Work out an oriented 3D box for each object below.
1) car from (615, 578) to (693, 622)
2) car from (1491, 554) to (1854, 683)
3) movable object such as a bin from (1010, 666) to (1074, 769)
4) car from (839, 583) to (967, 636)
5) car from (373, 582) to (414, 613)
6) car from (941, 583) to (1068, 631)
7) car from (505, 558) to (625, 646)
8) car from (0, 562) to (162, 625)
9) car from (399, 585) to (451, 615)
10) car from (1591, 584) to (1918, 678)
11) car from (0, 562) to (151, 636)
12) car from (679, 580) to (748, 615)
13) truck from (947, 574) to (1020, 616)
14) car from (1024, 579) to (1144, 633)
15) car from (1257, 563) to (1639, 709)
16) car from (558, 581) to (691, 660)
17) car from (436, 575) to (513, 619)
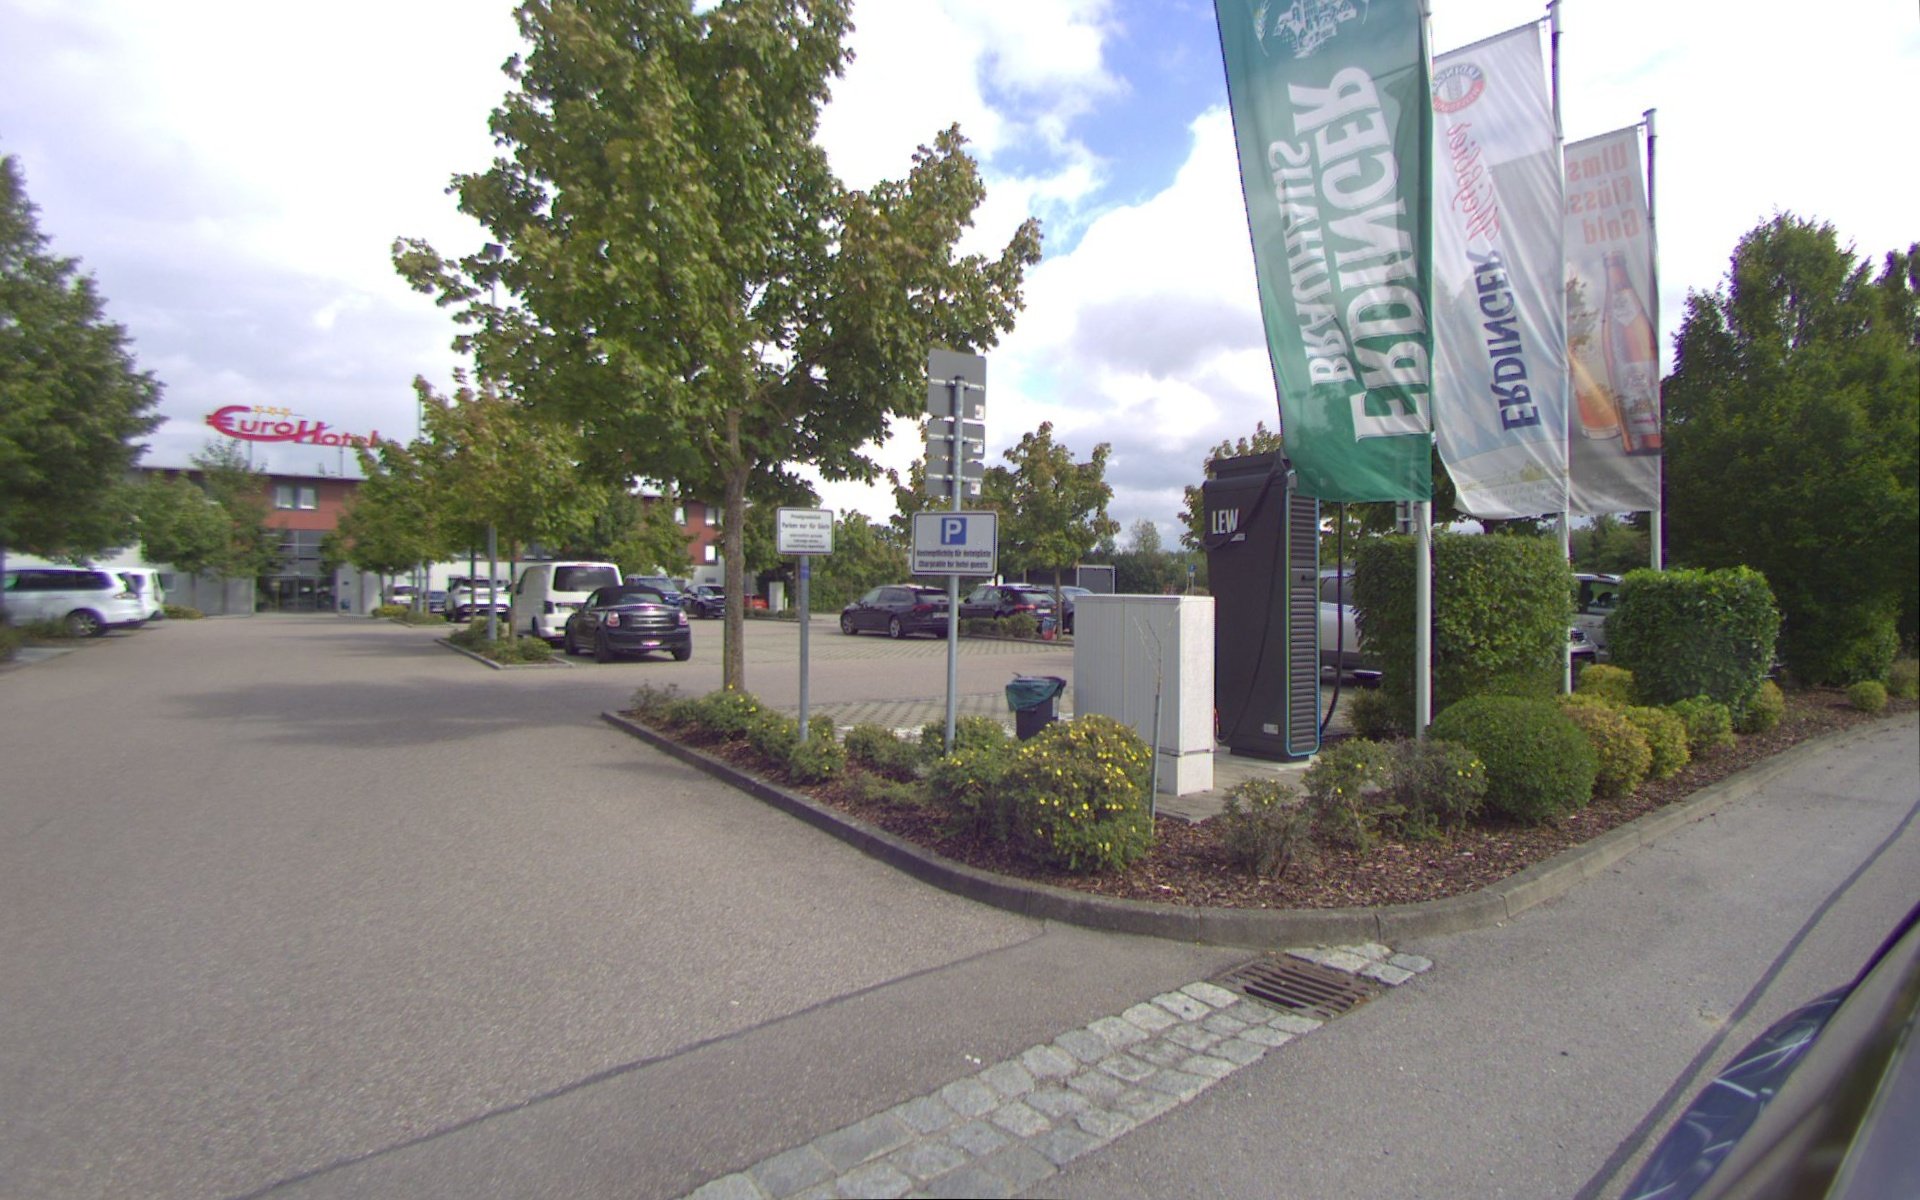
[{"bbox_3d":[-12.442,0.012,40.987,1.735,1.677,3.997,0,0,-37],"label":"car"},{"bbox_3d":[10.932,0.251,15.877,1.625,1.738,4.365,0,0,-33],"label":"car"},{"bbox_3d":[0.594,0.837,7.306,0.360,0.693,0.289,0,-1,-30],"label":"movable object such as a bin"},{"bbox_3d":[-1.684,0.242,28.458,1.688,1.363,4.277,0,0,-33],"label":"car"},{"bbox_3d":[-33.990,-0.155,60.694,1.644,1.804,3.997,0,0,-37],"label":"car"},{"bbox_3d":[1.266,0.193,30.802,1.688,1.363,4.277,0,0,-33],"label":"car"},{"bbox_3d":[-9.292,0.046,23.596,1.733,1.845,4.367,0,0,-33],"label":"car"},{"bbox_3d":[-26.016,-0.181,28.865,4.982,1.733,1.597,0,0,-35],"label":"car"},{"bbox_3d":[-26.666,0.007,50.405,1.644,1.447,3.997,0,0,-37],"label":"car"},{"bbox_3d":[13.108,0.458,16.930,1.693,1.367,4.000,0,0,-35],"label":"car"},{"bbox_3d":[-22.889,-0.034,24.542,4.982,1.733,1.750,0,0,-35],"label":"car"},{"bbox_3d":[-10.236,-0.091,41.905,1.500,1.391,3.476,0,0,-37],"label":"car"},{"bbox_3d":[2.460,-0.499,103.438,8.401,4.173,1.996,0,0,-42],"label":"truck"},{"bbox_3d":[3.820,0.184,31.826,1.958,1.591,4.007,0,0,-24],"label":"car"},{"bbox_3d":[6.686,0.356,14.475,1.880,1.717,4.685,-1,2,-30],"label":"car"},{"bbox_3d":[-6.508,0.355,19.458,1.598,1.368,3.373,0,0,-33],"label":"car"},{"bbox_3d":[-17.565,-0.099,36.549,1.790,1.519,3.843,0,0,-37],"label":"car"}]
